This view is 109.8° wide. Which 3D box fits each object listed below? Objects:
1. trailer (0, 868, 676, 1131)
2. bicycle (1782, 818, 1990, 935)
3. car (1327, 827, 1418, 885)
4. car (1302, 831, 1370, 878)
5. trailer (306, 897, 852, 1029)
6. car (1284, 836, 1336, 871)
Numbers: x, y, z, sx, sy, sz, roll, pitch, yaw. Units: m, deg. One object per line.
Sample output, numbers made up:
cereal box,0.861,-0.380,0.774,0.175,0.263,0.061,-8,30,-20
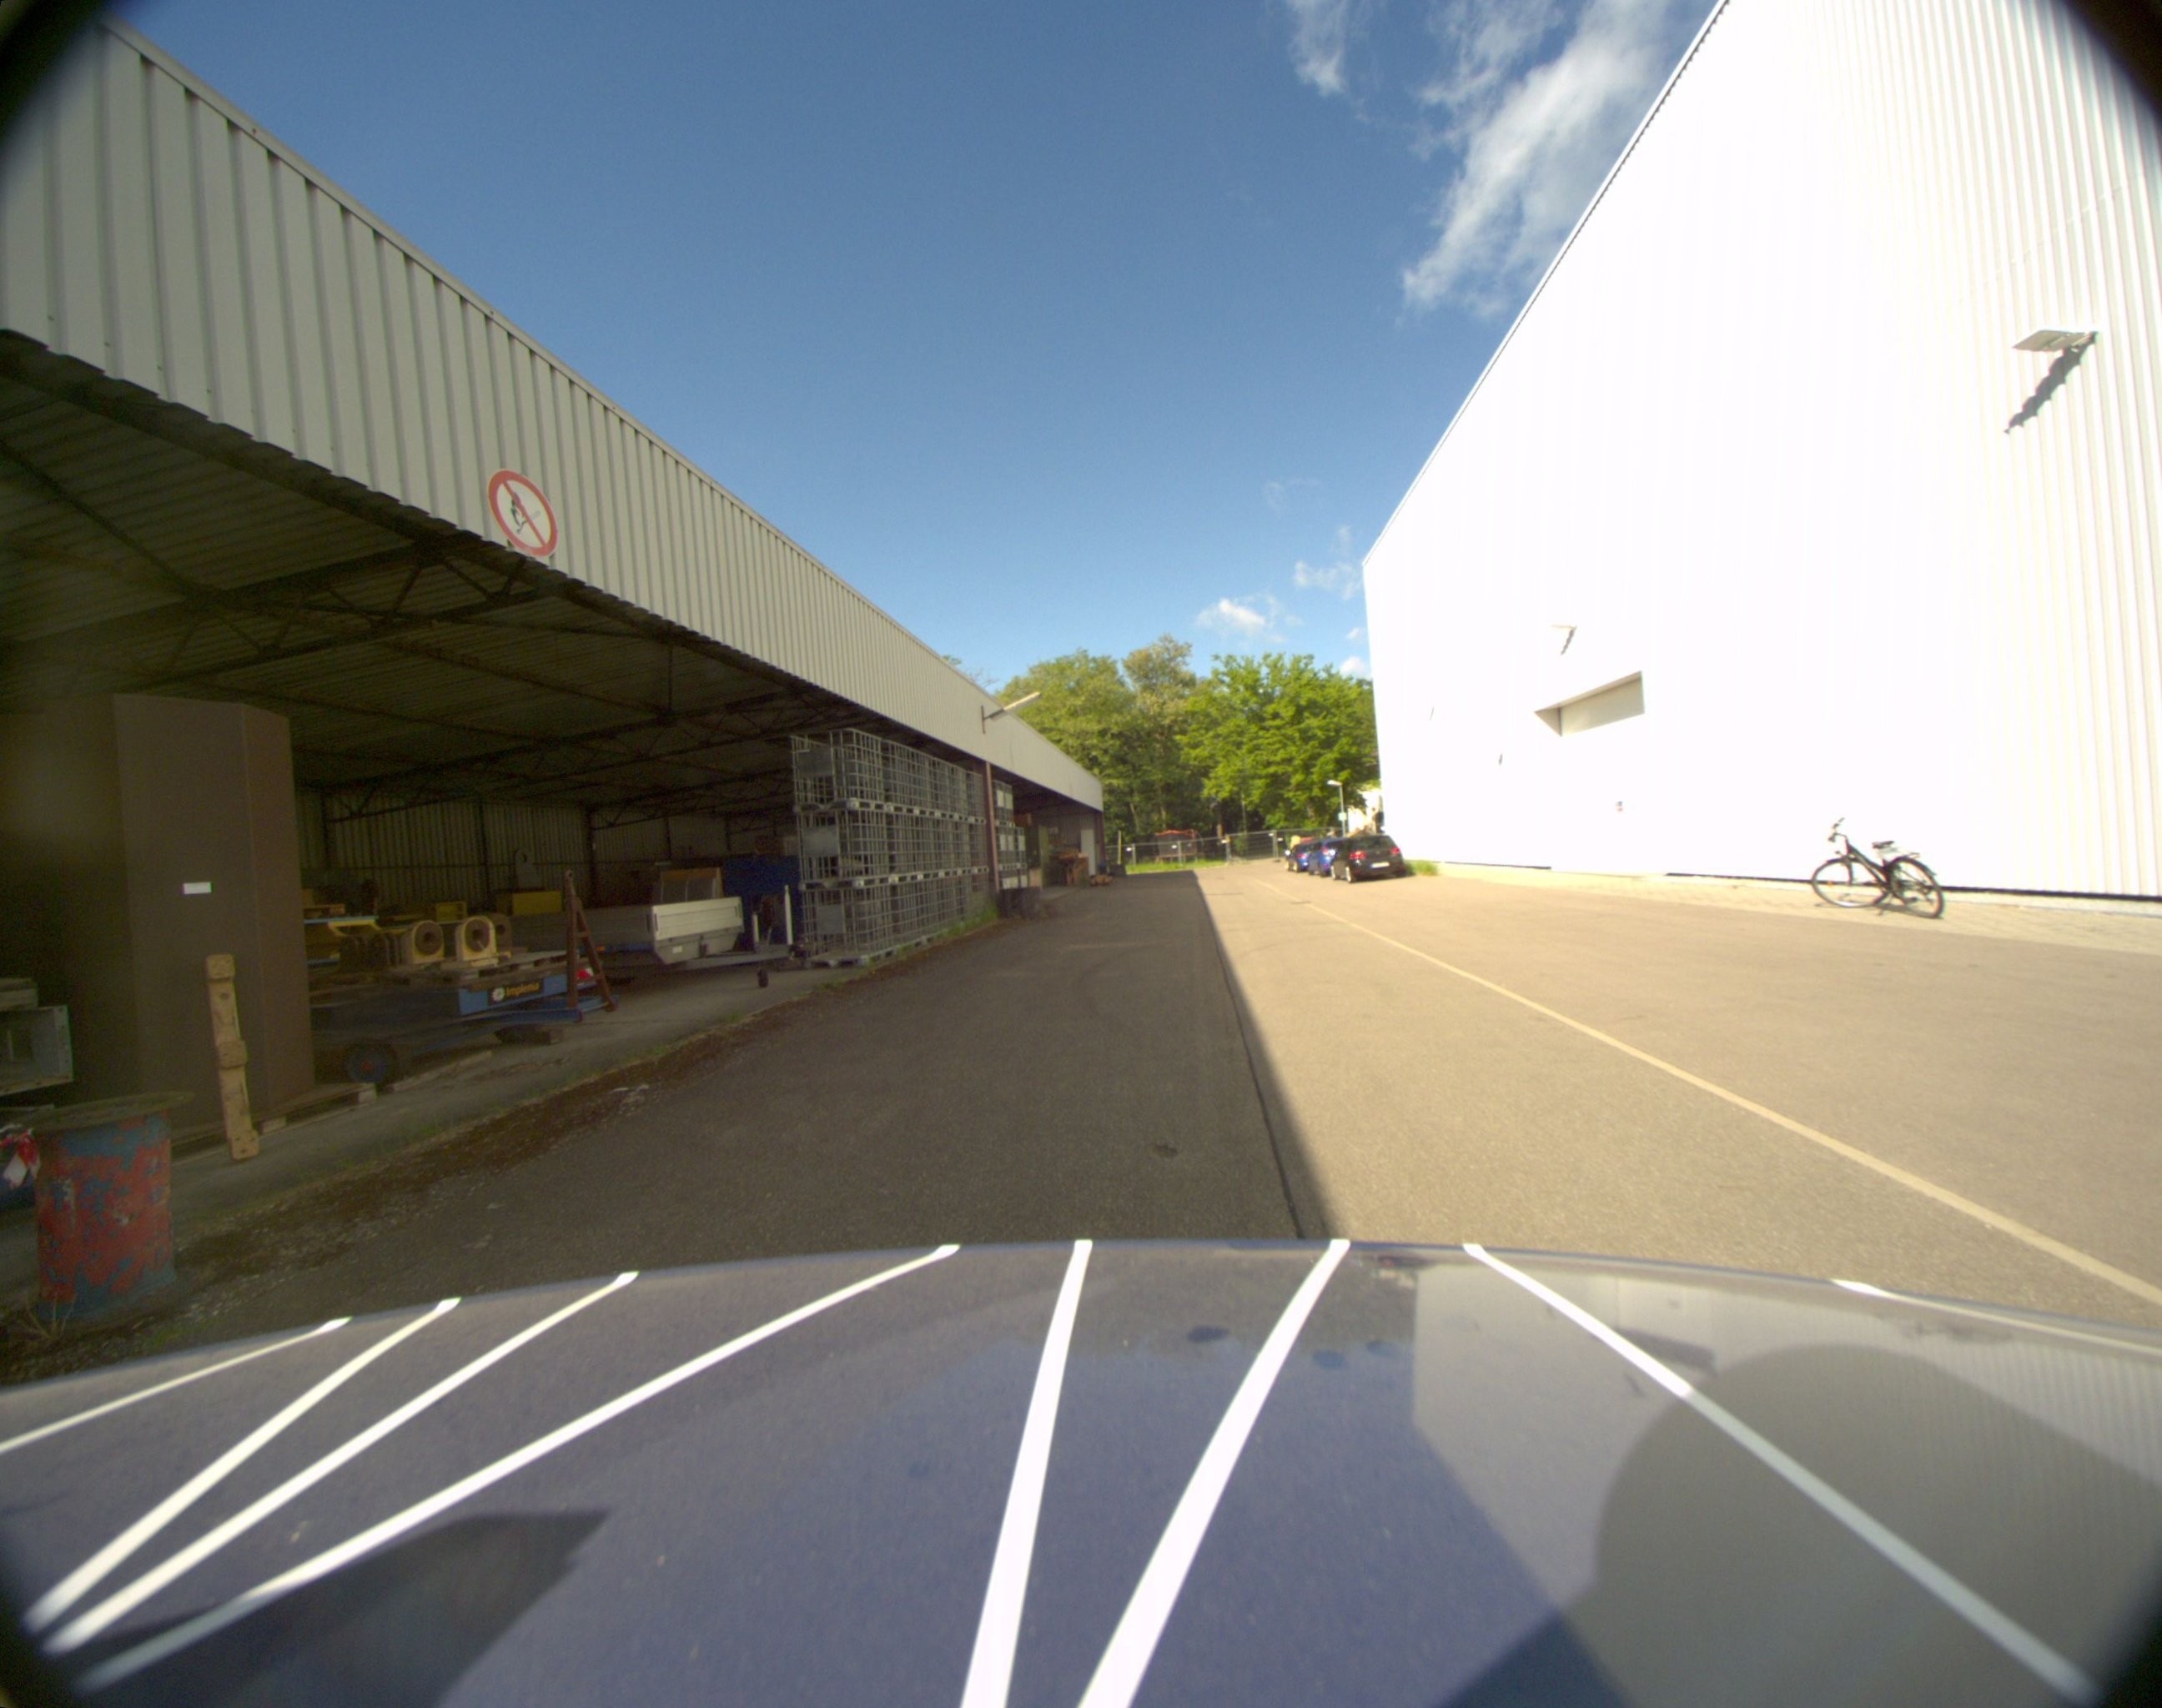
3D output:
trailer,-6.379,1.107,6.377,4.877,1.619,2.030,-4,1,7
bicycle,9.371,0.209,8.978,0.908,1.136,1.902,-8,0,23
car,9.486,0.029,25.033,1.894,1.513,4.002,-7,0,10
car,10.065,-0.014,30.256,1.789,1.513,4.002,-7,0,10
trailer,-6.192,1.342,9.736,5.834,1.113,2.030,-4,0,7
car,10.704,-0.045,35.724,1.788,1.432,4.002,-4,0,10
